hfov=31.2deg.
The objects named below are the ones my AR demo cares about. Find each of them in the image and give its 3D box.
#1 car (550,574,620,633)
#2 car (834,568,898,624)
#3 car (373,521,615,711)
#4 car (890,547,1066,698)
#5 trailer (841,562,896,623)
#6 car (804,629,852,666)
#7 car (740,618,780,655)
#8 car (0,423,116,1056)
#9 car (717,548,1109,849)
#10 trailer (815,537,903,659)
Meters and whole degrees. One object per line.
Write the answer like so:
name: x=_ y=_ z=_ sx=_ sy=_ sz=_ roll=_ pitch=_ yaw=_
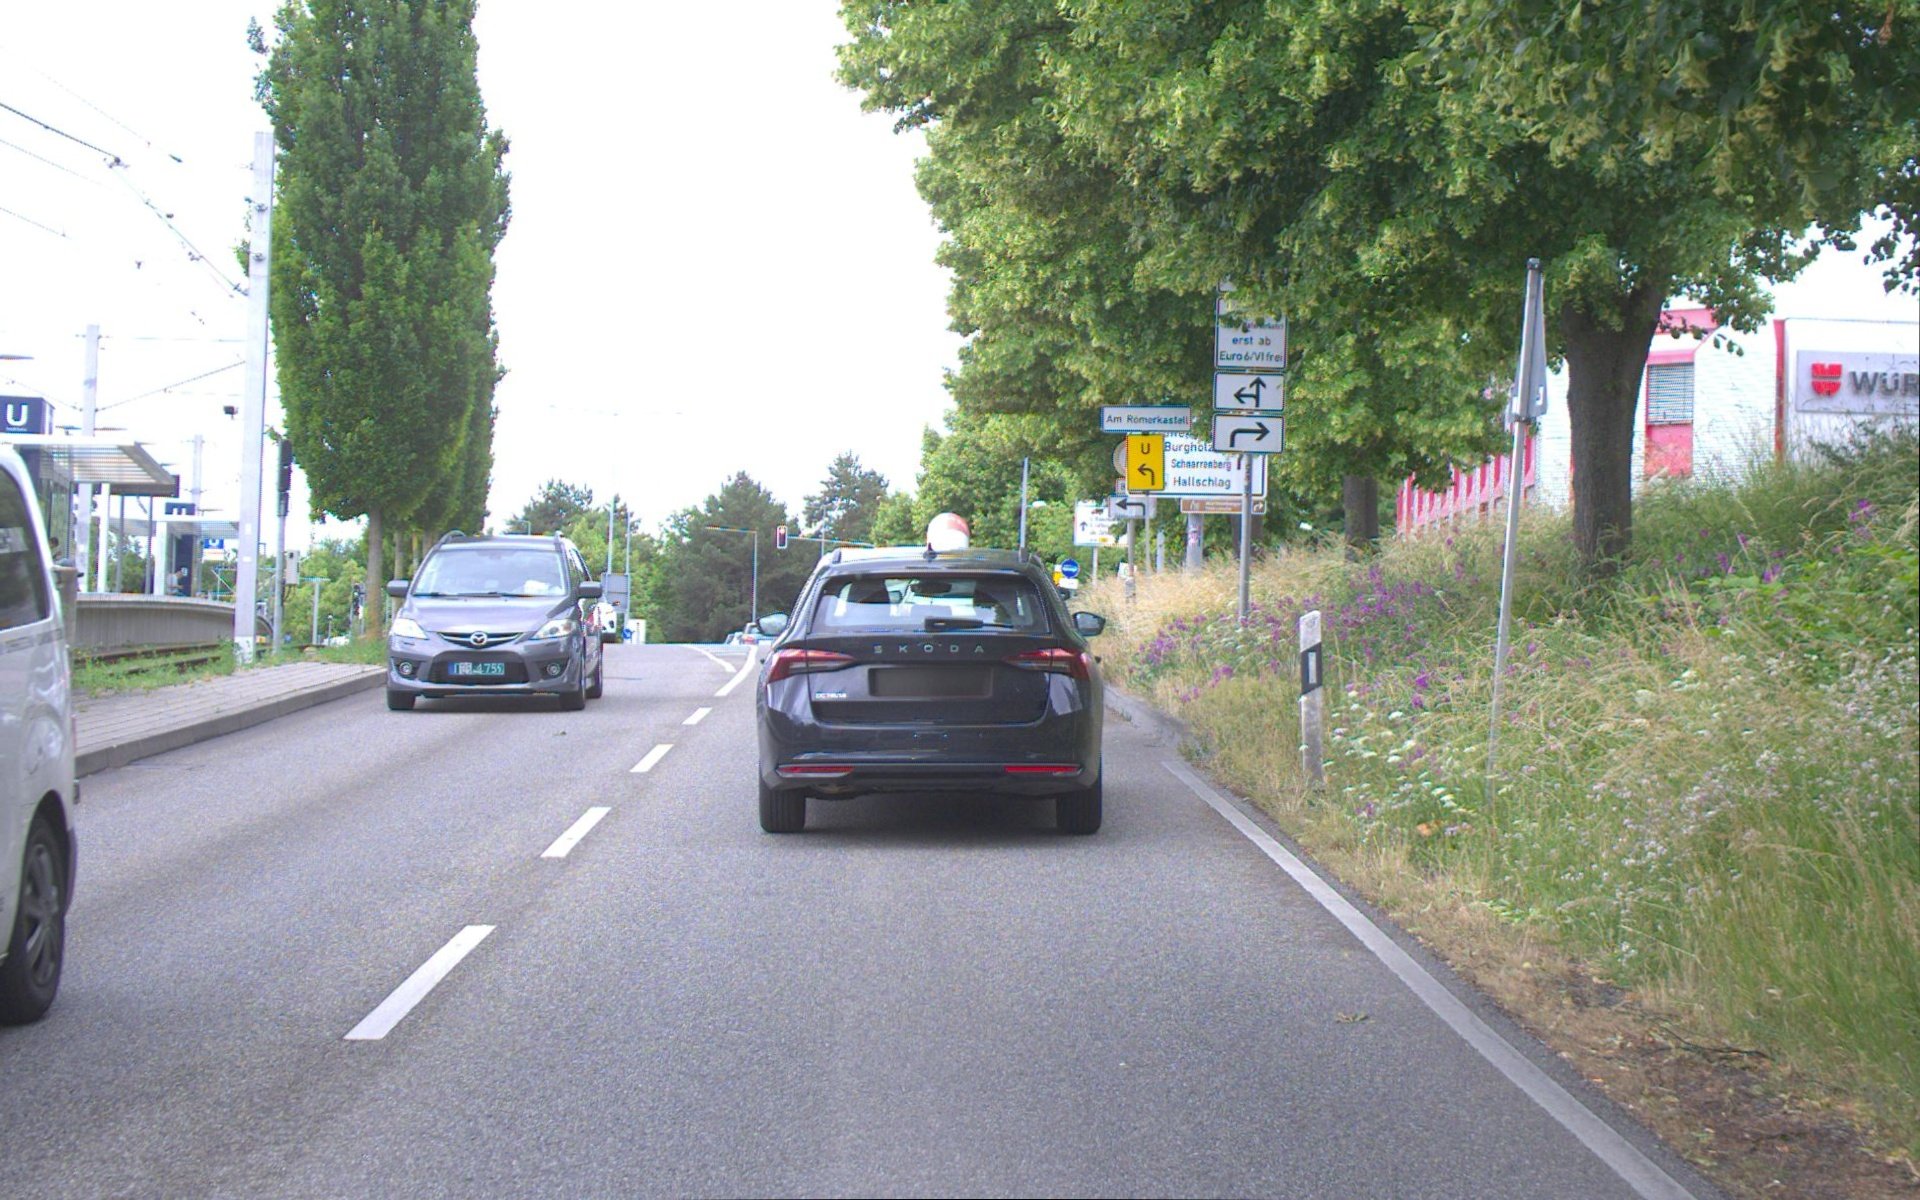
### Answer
car: x=-9.982 y=0.089 z=91.773 sx=1.715 sy=1.516 sz=3.745 roll=0 pitch=1 yaw=-4
car: x=-2.690 y=-0.098 z=97.229 sx=1.671 sy=1.443 sz=4.489 roll=1 pitch=-1 yaw=-3
car: x=-4.318 y=0.103 z=32.410 sx=1.823 sy=1.651 sz=4.246 roll=1 pitch=1 yaw=-2
car: x=0.135 y=0.202 z=34.950 sx=1.623 sy=1.452 sz=3.689 roll=0 pitch=0 yaw=-2
trailer: x=-2.493 y=-0.193 z=93.323 sx=1.409 sy=1.588 sz=3.303 roll=1 pitch=-1 yaw=-3
car: x=-5.186 y=1.870 z=135.432 sx=1.812 sy=1.349 sz=4.118 roll=1 pitch=0 yaw=-2
car: x=-7.852 y=1.417 z=134.922 sx=1.525 sy=1.349 sz=3.491 roll=1 pitch=1 yaw=-4
car: x=-3.697 y=0.423 z=8.968 sx=1.896 sy=1.827 sz=4.906 roll=-1 pitch=1 yaw=-2
car: x=-0.136 y=0.445 z=18.715 sx=1.836 sy=1.427 sz=4.278 roll=0 pitch=1 yaw=3
trailer: x=-3.637 y=-0.018 z=122.325 sx=2.565 sy=3.694 sz=7.763 roll=1 pitch=-5 yaw=-6
